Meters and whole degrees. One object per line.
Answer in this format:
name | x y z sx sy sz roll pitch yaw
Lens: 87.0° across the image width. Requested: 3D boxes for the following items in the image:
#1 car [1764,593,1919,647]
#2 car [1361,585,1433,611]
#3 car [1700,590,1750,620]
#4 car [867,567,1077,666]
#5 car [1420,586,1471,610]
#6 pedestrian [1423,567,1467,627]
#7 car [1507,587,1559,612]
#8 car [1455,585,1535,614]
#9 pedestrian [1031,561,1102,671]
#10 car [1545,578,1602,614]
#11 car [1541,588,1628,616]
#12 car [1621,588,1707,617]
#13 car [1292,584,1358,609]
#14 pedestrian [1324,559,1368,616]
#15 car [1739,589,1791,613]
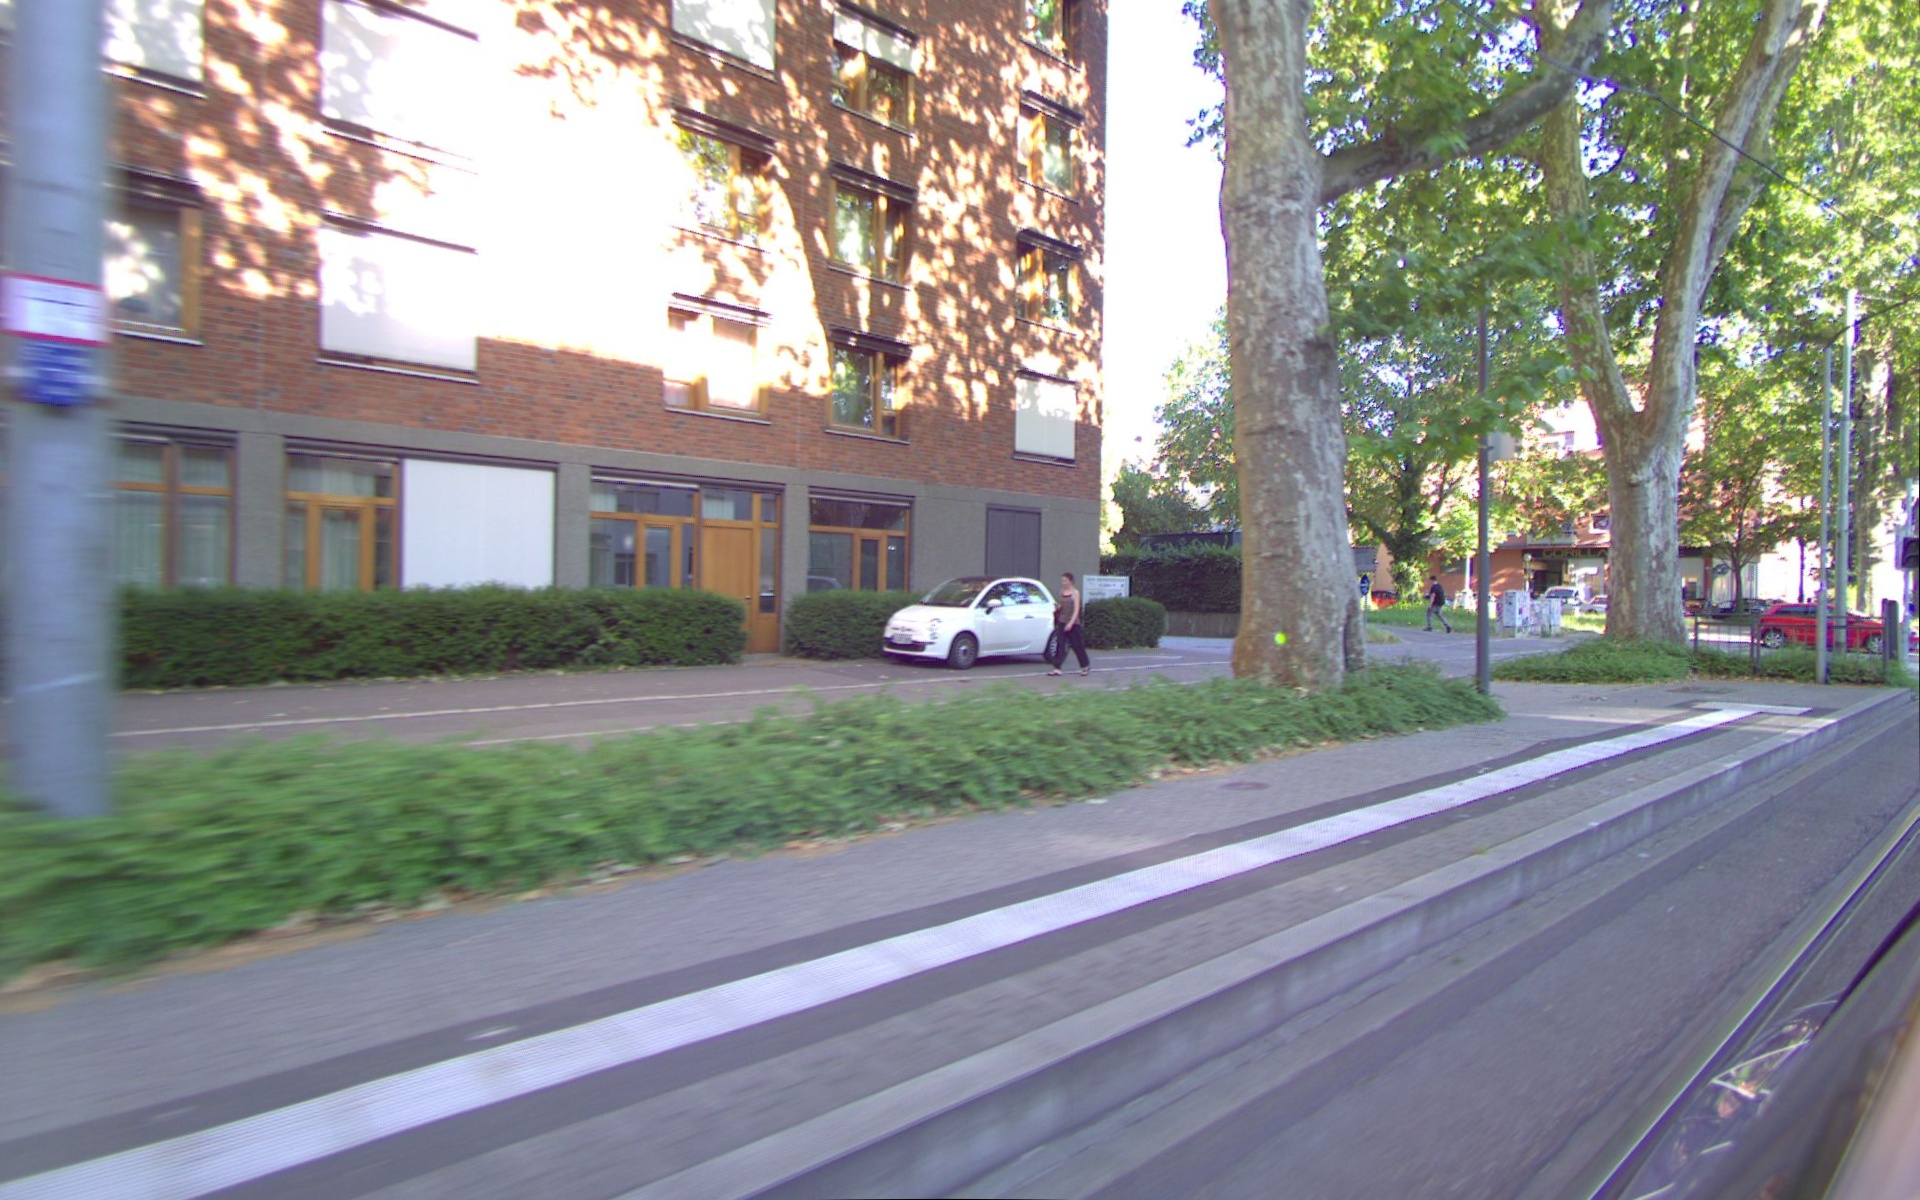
car | 26.981 0.563 30.613 1.618 1.441 3.896 0 1 -37
car | 28.208 -0.138 65.423 1.655 1.601 3.923 0 1 -42
car | 44.437 0.273 58.753 1.789 1.594 4.505 2 1 44
car | 0.257 0.231 17.150 3.359 1.514 1.602 0 1 -42
car | 34.041 -0.133 70.903 4.503 1.594 1.790 0 1 -45
pedestrian | 15.183 -0.118 31.689 0.994 1.833 0.850 2 1 44
car | 37.642 -0.038 66.428 4.503 1.594 1.790 0 1 -45
car | 32.329 -0.041 61.230 1.655 1.601 3.923 0 1 -42
pedestrian | 1.686 0.234 15.986 0.820 1.690 0.737 0 1 -41
car | 39.307 -0.248 64.803 5.000 2.211 1.914 0 1 -44
car | 35.484 0.104 57.587 1.655 1.470 3.923 0 1 -42
car | 37.846 0.117 54.454 1.655 1.470 3.543 0 1 -42
car | 24.805 -0.254 68.857 1.655 1.601 3.923 0 1 -42
pedestrian | 13.488 -0.444 35.361 0.983 1.886 1.000 6 4 44
car | 50.479 0.061 63.434 4.389 1.452 1.752 0 2 -41
